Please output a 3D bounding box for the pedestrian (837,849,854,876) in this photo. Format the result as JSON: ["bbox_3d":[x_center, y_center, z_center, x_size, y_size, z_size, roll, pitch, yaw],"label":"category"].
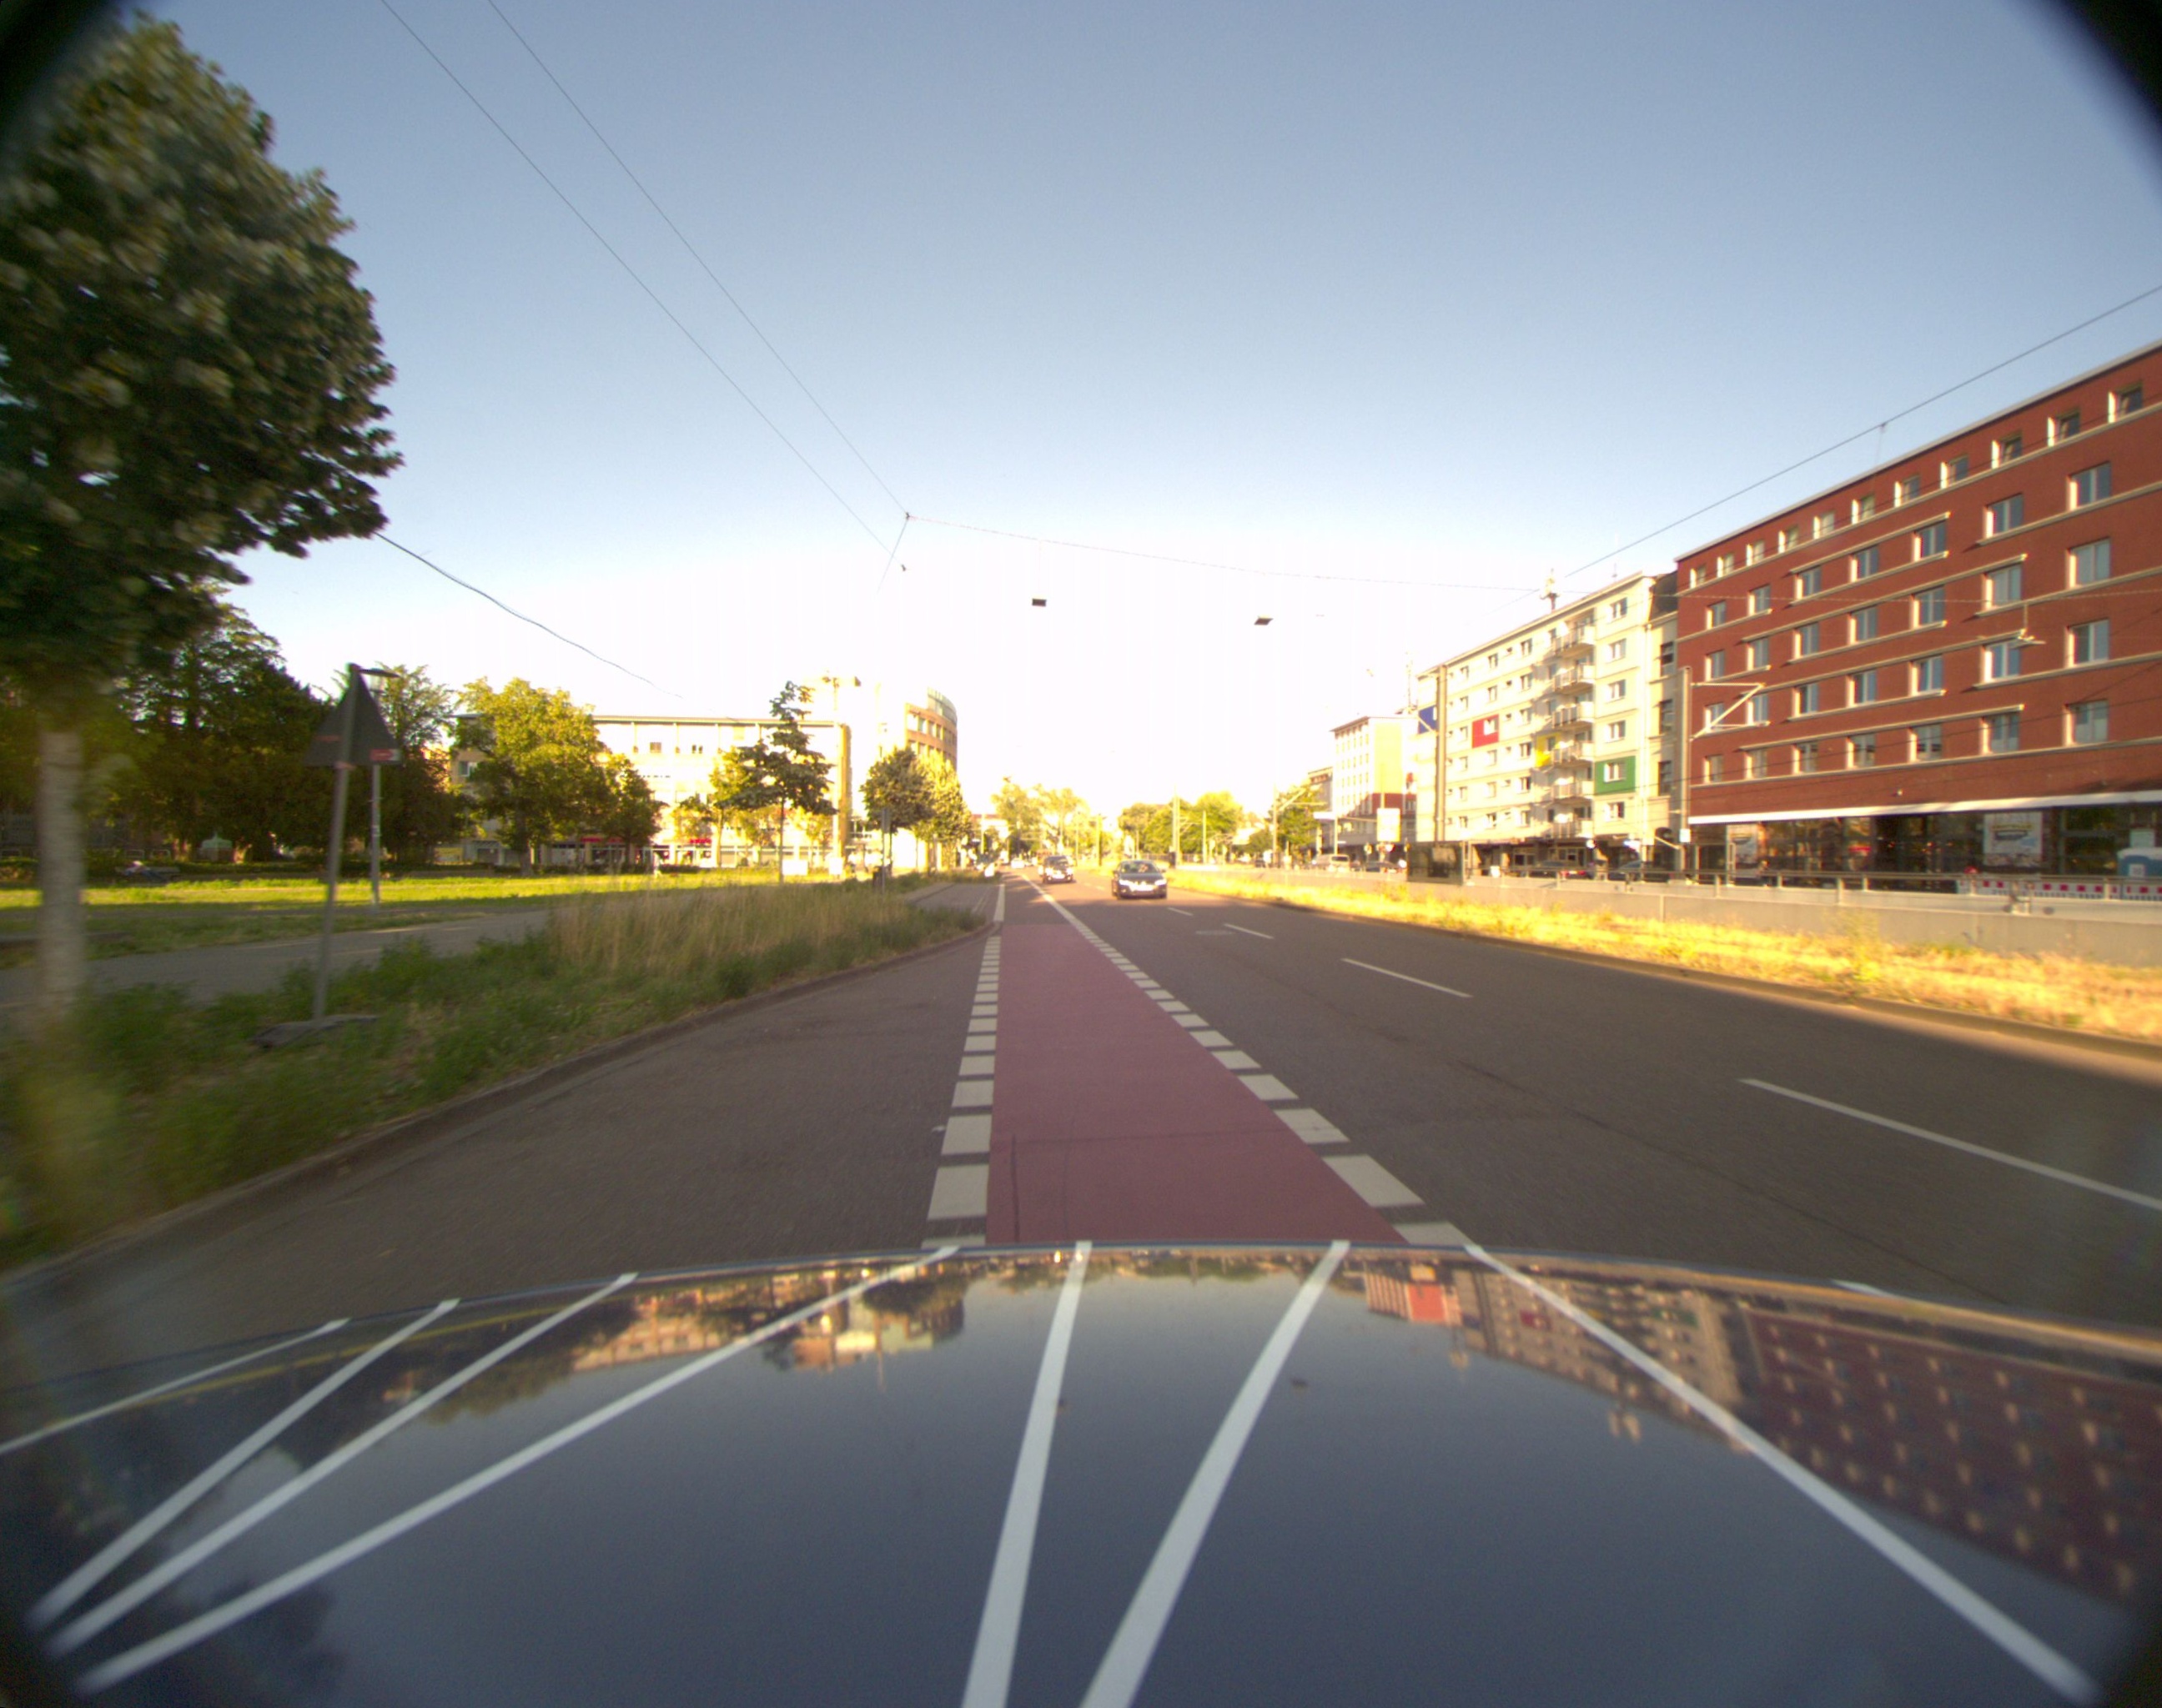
[{"bbox_3d":[-14.792,0.528,47.701,0.741,1.640,0.916,3,0,-1],"label":"pedestrian"}]

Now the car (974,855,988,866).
[{"bbox_3d":[-13.939,0.839,106.343,1.770,1.464,4.011,-1,1,-6],"label":"car"}]

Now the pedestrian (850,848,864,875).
[{"bbox_3d":[-14.501,0.491,49.149,0.599,1.679,0.781,2,0,-1],"label":"pedestrian"}]

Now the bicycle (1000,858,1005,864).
[{"bbox_3d":[-11.903,1.056,114.715,0.609,0.923,1.776,0,0,-2],"label":"bicycle"}]

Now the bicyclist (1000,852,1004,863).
[{"bbox_3d":[-11.910,0.516,114.745,0.552,1.600,0.832,0,0,-2],"label":"bicyclist"}]

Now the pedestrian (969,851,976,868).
[{"bbox_3d":[-11.112,0.524,77.900,0.651,1.714,0.714,0,1,-3],"label":"pedestrian"}]

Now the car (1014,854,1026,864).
[{"bbox_3d":[-9.411,0.754,117.740,1.770,1.464,4.011,-1,1,-6],"label":"car"}]

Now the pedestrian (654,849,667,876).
[{"bbox_3d":[-27.288,0.528,49.343,0.644,1.729,0.595,0,0,-38],"label":"pedestrian"}]

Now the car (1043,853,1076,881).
[{"bbox_3d":[-1.404,0.789,47.966,1.770,1.722,4.145,0,0,-6],"label":"car"}]

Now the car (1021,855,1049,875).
[{"bbox_3d":[-3.921,0.907,64.093,1.835,1.528,4.274,-2,1,-10],"label":"car"}]
